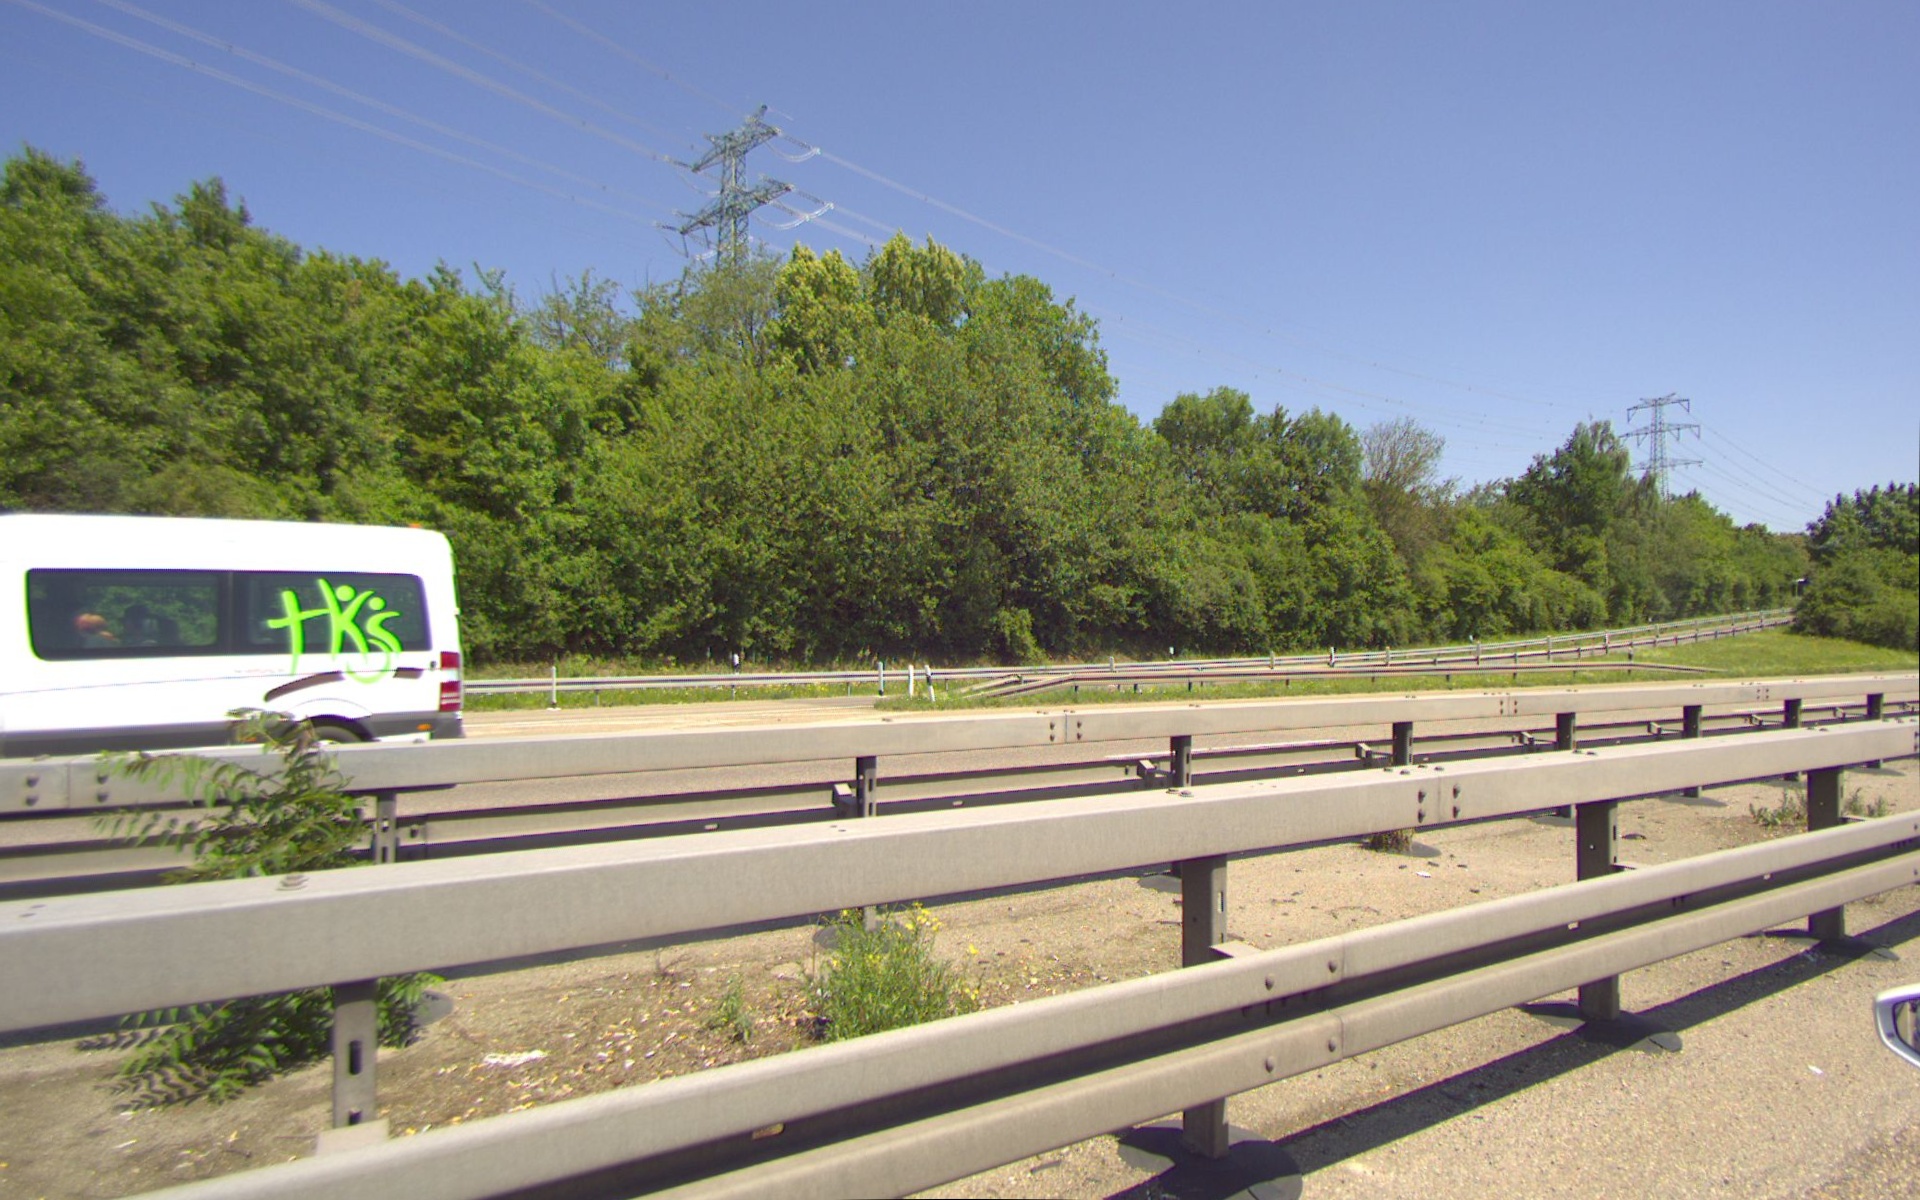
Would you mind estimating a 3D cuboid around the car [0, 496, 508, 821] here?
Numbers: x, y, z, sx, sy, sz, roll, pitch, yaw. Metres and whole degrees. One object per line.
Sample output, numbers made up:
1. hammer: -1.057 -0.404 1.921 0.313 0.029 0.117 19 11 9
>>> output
1. car: -7.594 0.529 9.496 5.823 2.627 2.145 2 -2 -31
